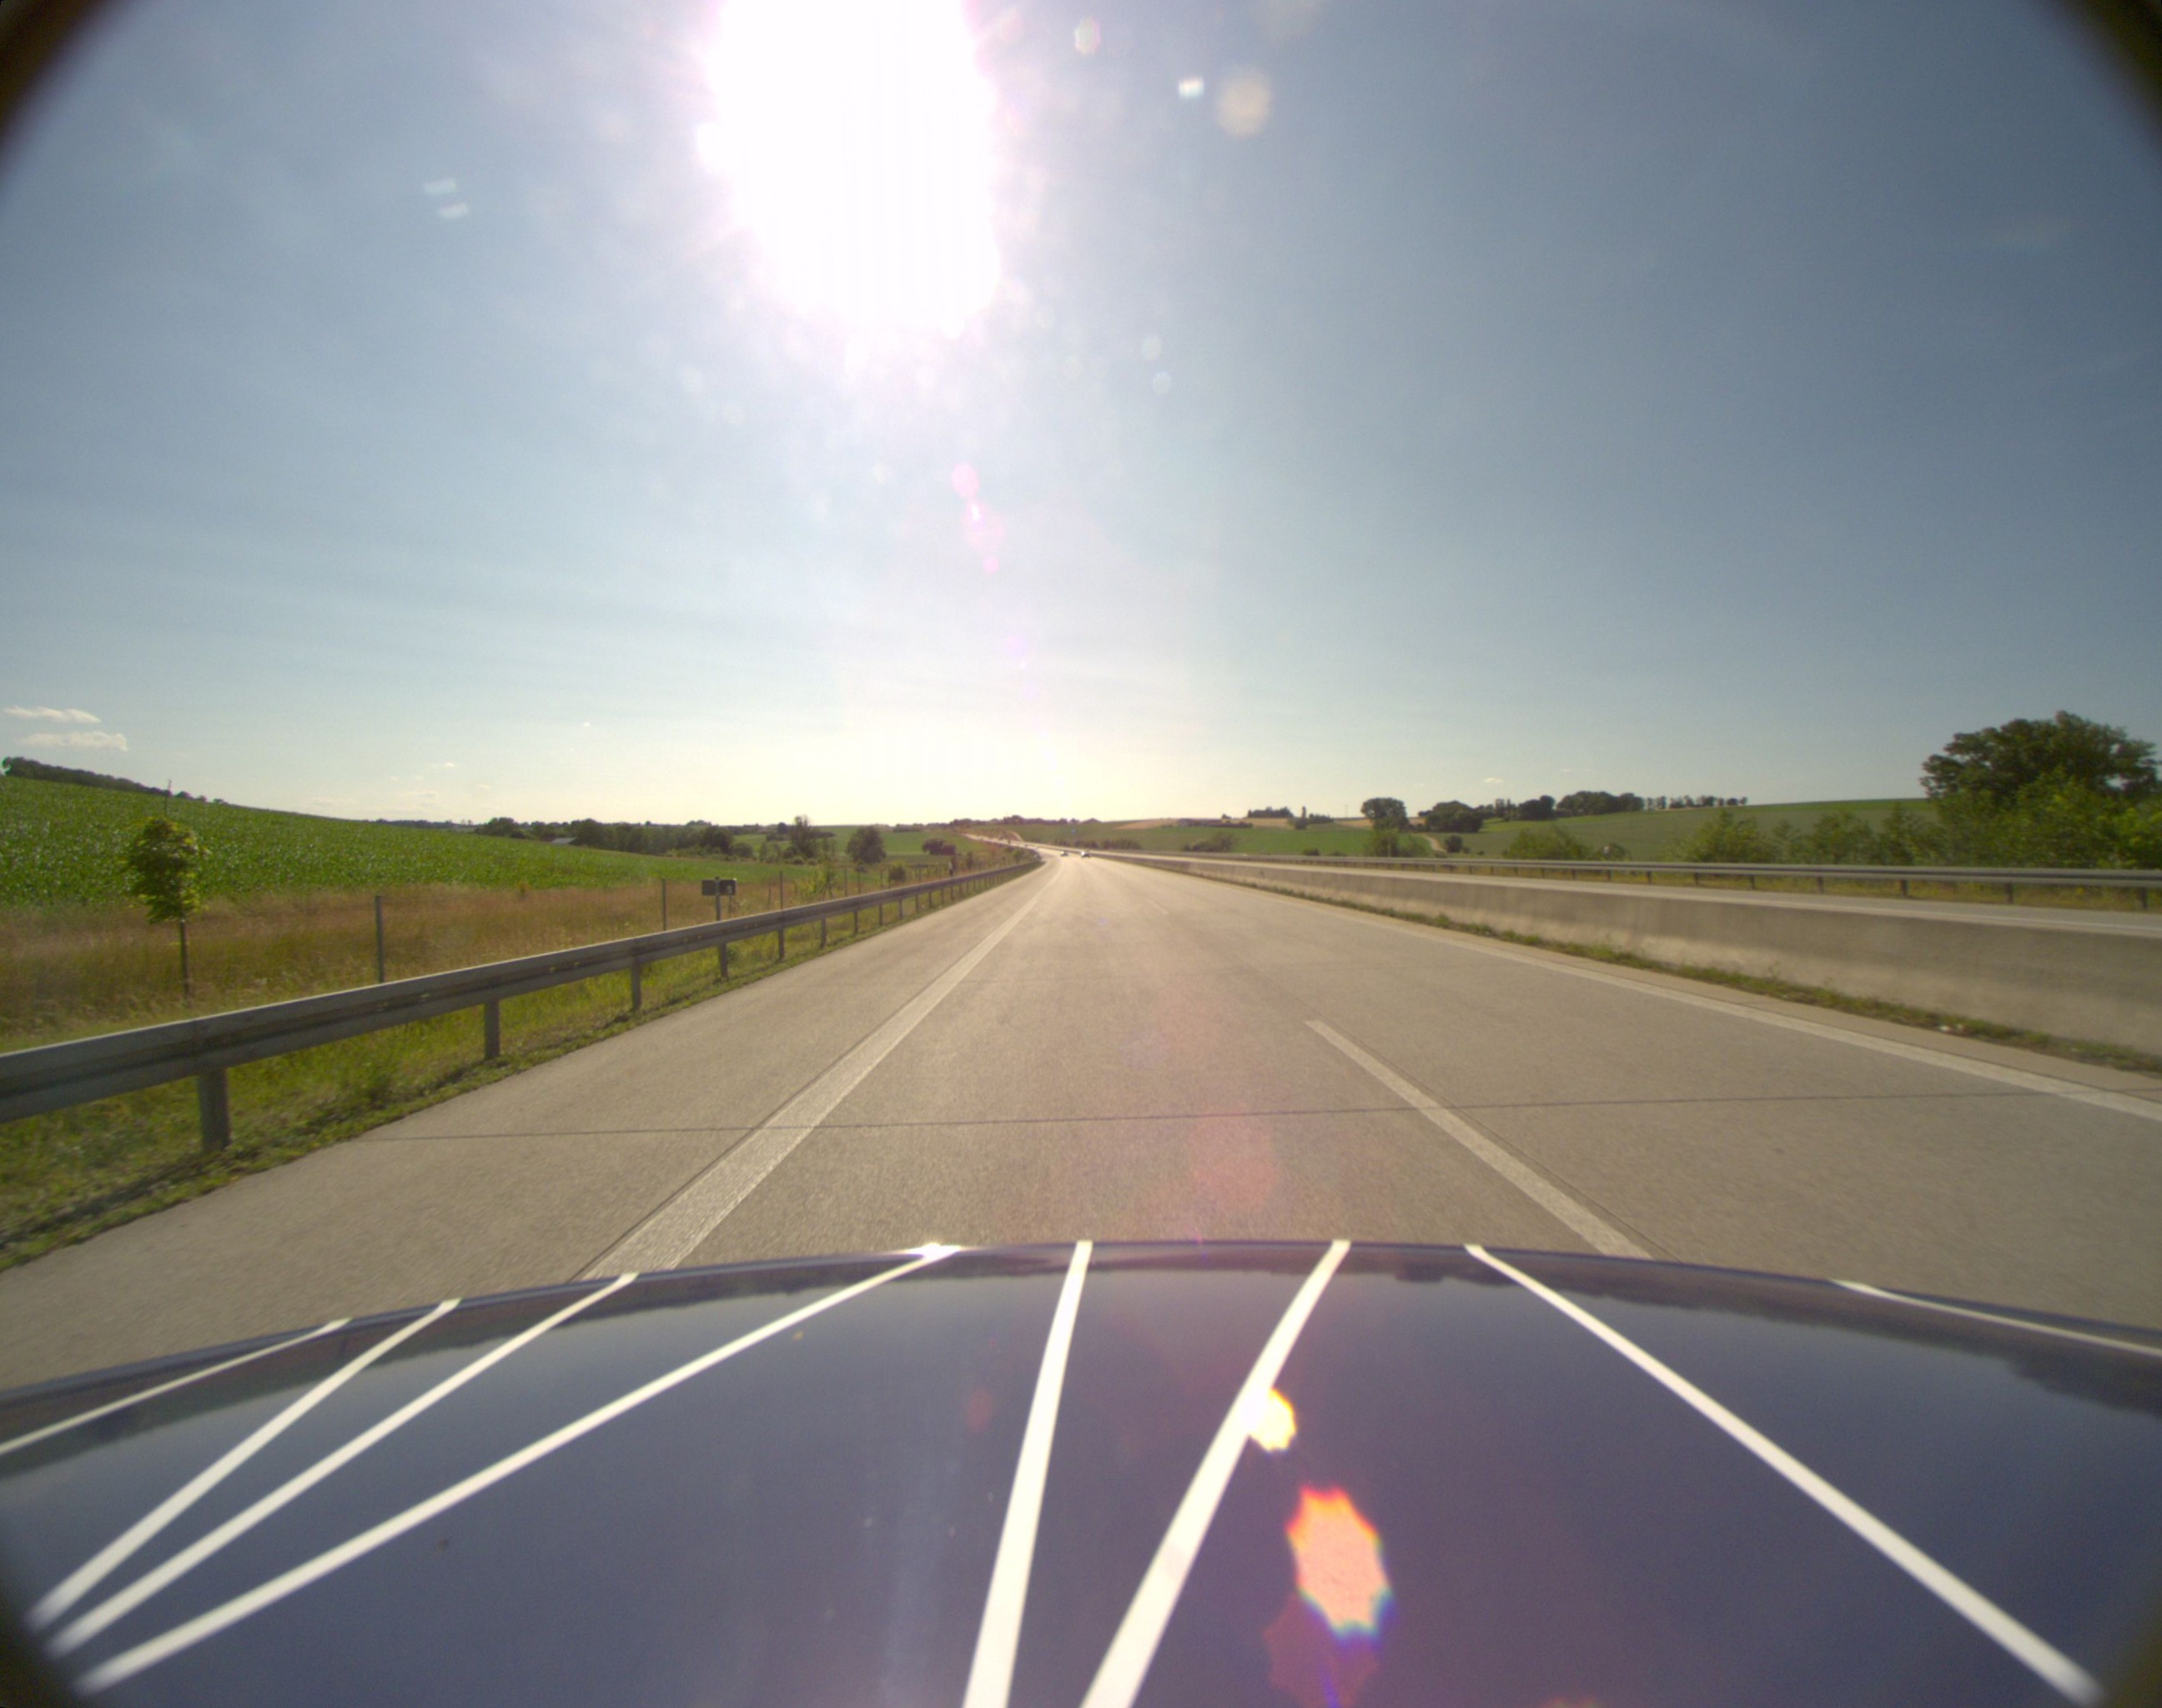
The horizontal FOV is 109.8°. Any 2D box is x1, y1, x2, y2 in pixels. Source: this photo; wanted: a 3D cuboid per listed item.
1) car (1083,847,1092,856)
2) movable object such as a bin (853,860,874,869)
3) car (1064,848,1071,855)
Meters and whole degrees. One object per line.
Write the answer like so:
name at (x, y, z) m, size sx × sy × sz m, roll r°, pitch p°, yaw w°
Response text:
car at (1.418, -0.479, 160.927) m, size 1.715 × 1.581 × 4.625 m, roll -2°, pitch 3°, yaw 2°
movable object such as a bin at (-71.833, 3.324, 251.073) m, size 6.214 × 2.756 × 3.291 m, roll 0°, pitch 4°, yaw 36°
car at (-3.602, -0.735, 203.172) m, size 1.715 × 1.581 × 4.623 m, roll -2°, pitch 3°, yaw -3°
